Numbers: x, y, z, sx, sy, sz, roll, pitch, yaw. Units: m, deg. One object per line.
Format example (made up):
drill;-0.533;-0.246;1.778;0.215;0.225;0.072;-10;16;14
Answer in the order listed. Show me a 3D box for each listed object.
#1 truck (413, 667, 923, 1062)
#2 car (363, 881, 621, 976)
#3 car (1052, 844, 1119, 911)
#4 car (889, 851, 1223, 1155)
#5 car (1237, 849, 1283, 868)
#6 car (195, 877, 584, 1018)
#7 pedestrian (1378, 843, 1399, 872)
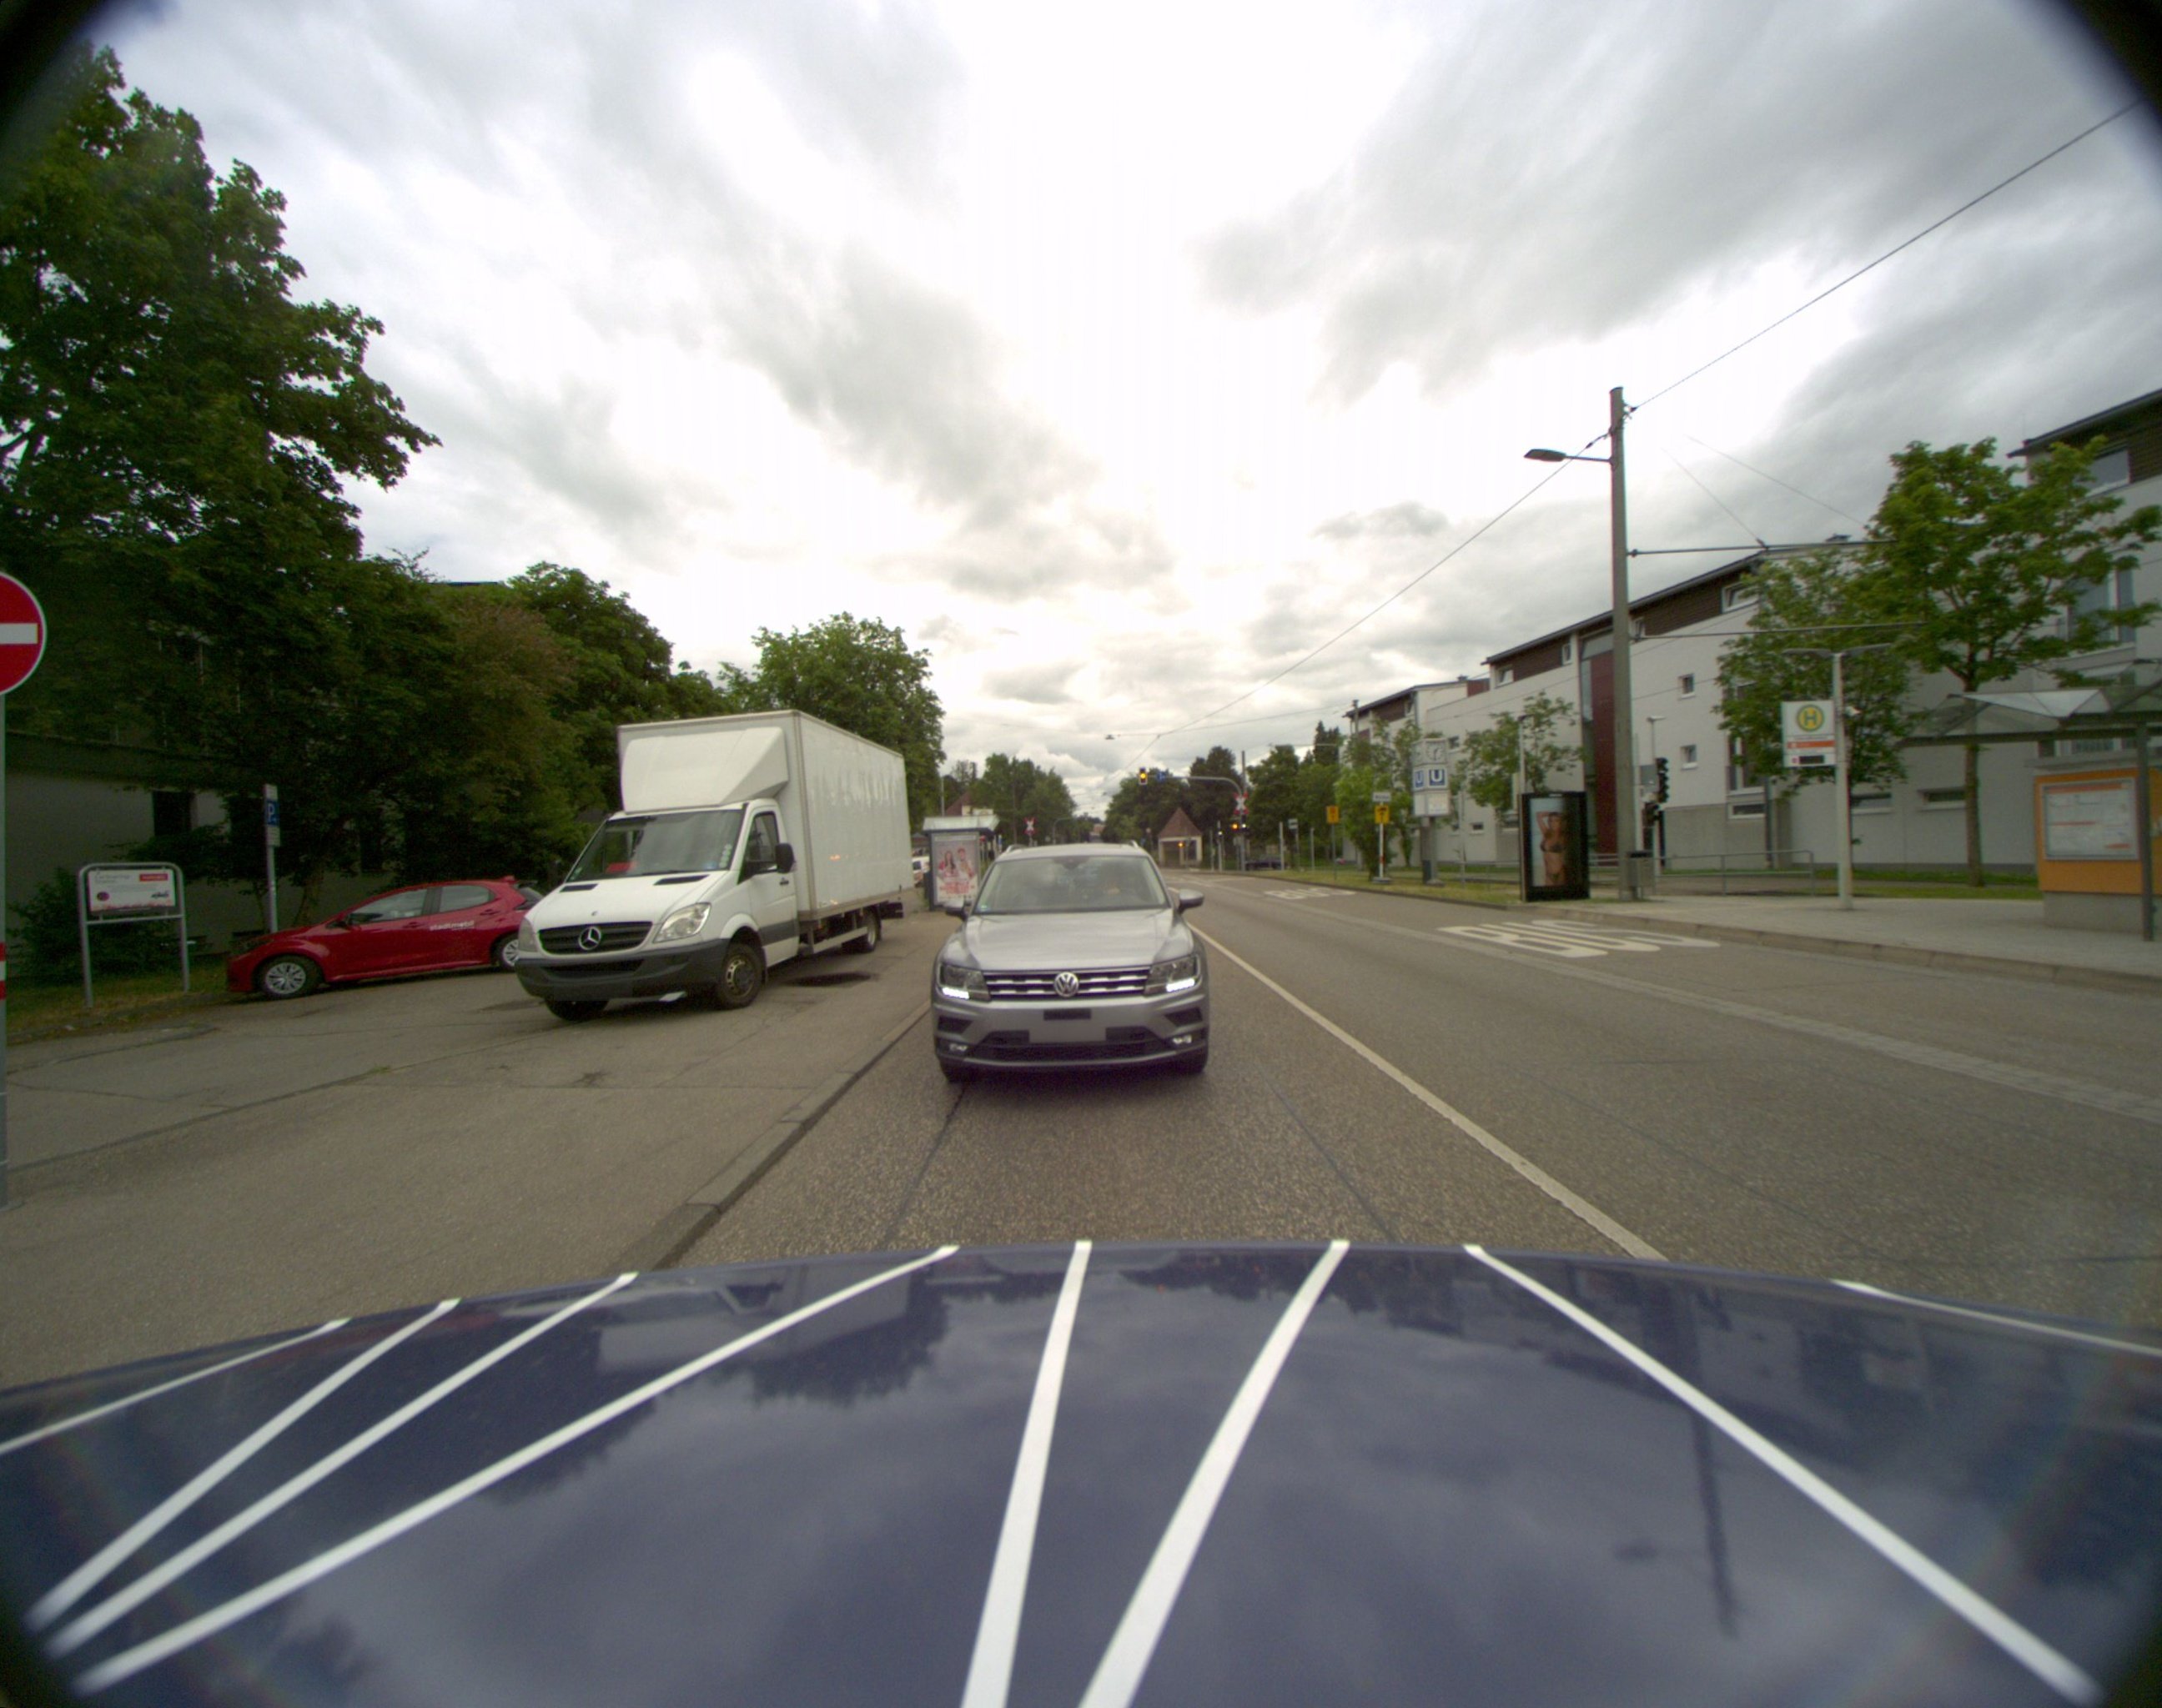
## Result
truck;-4.466;0.046;10.625;2.541;3.407;7.775;-2;1;2
car;-11.972;1.445;15.829;4.005;1.402;1.521;-5;2;-31
car;0.161;0.658;23.746;1.849;1.850;4.000;-2;0;1
car;-0.109;0.835;6.438;1.811;1.638;4.330;-2;0;1
car;17.404;0.442;73.975;3.998;1.696;1.928;-2;1;-3
car;-10.026;1.269;11.465;3.902;1.475;1.680;-5;2;-24
pedestrian;17.536;0.203;43.328;0.782;1.586;0.780;-2;1;-8
